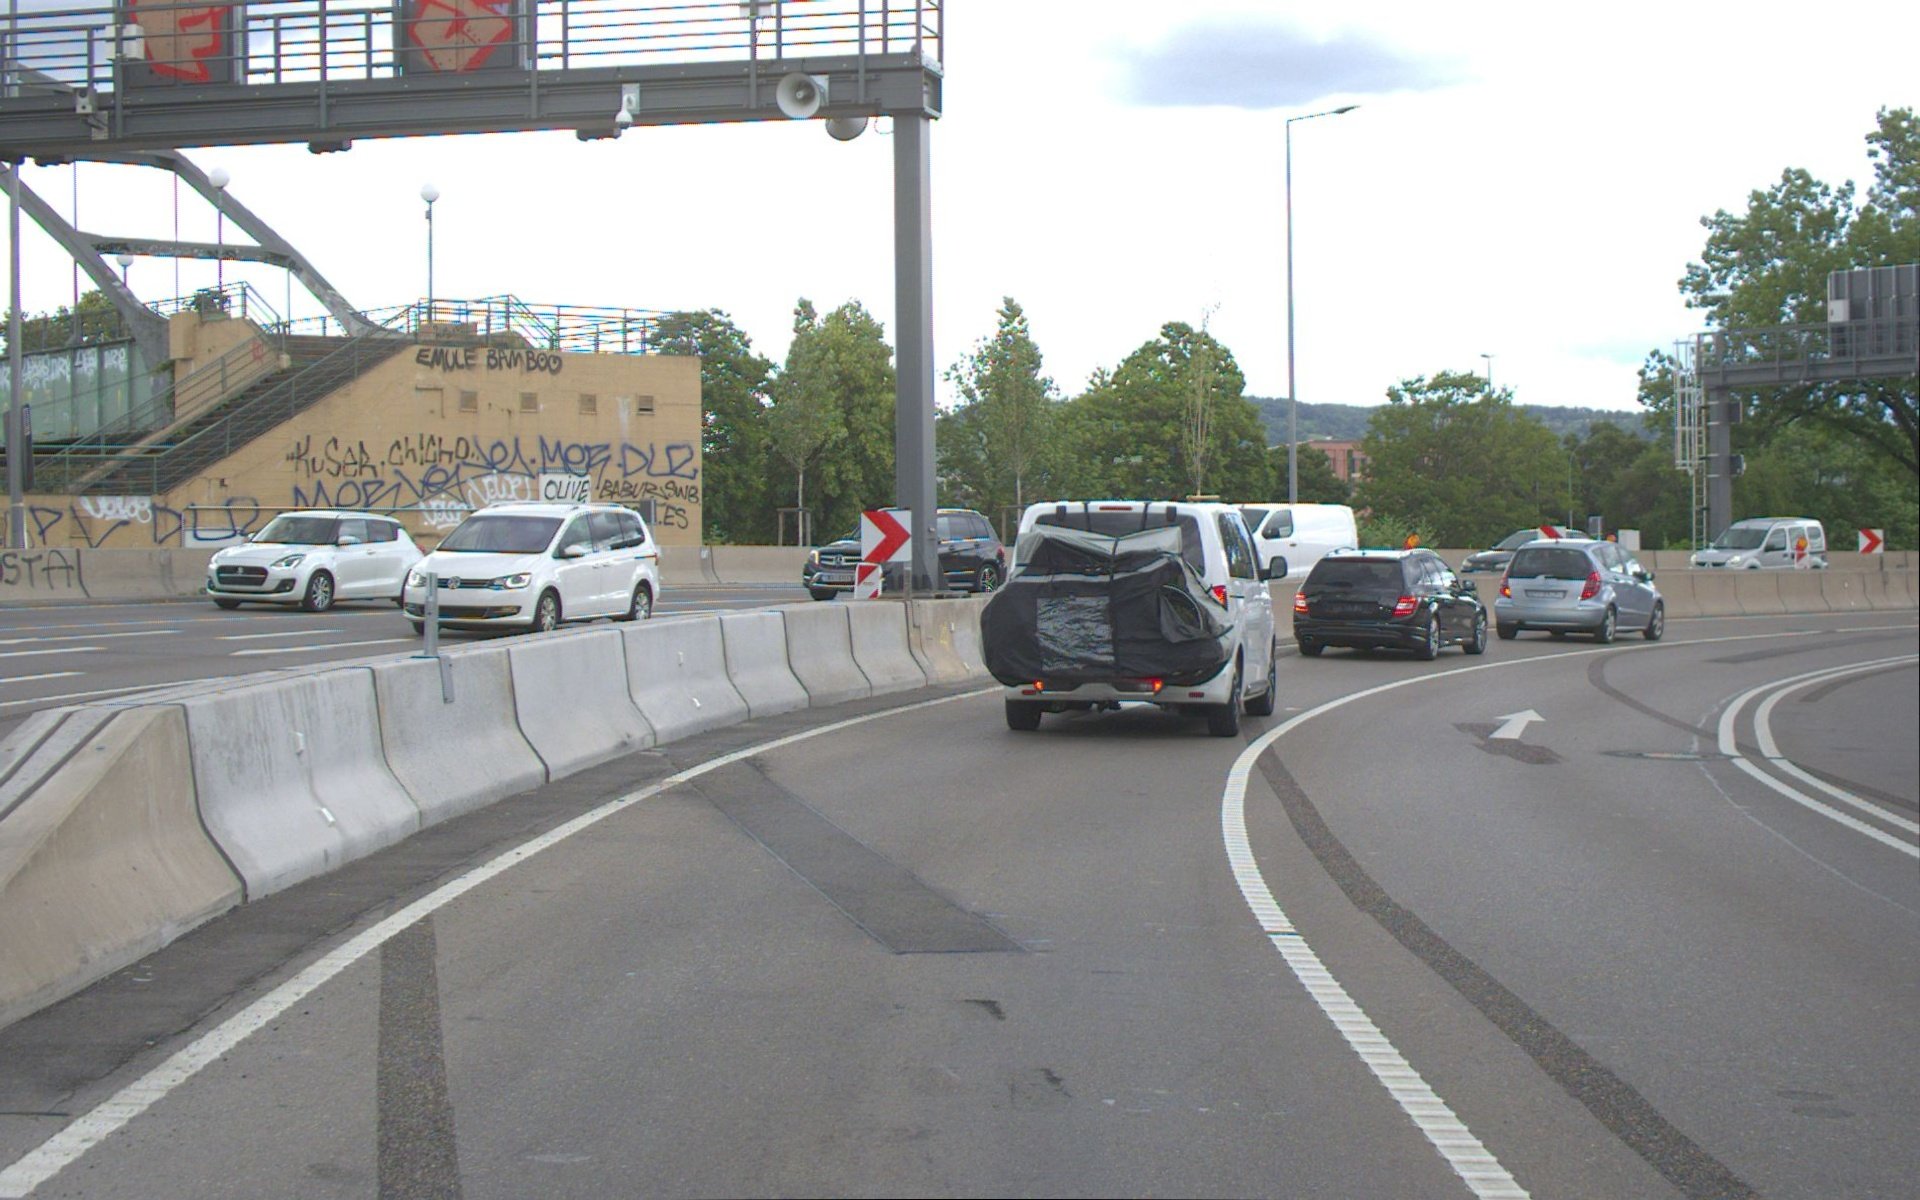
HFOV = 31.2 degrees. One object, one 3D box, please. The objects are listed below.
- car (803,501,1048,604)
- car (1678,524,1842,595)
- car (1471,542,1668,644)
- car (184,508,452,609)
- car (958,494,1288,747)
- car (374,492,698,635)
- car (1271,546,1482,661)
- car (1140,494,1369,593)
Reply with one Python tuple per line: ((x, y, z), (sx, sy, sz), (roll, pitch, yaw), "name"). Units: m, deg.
((-0.549, -0.837, 60.476), (1.997, 1.689, 4.919), (2, 2, 31), "car")
((19.733, -0.984, 84.745), (1.999, 1.680, 4.248), (2, 2, 44), "car")
((9.528, -0.146, 53.540), (1.923, 1.483, 4.059), (1, 2, 27), "car")
((-9.436, -0.620, 50.851), (1.762, 1.429, 4.139), (1, 1, 26), "car")
((1.475, 0.106, 28.443), (1.994, 1.852, 5.638), (1, 1, 10), "car")
((-5.413, -0.489, 44.703), (1.952, 1.744, 5.269), (1, 1, 21), "car")
((5.509, 0.020, 45.065), (1.817, 1.429, 4.061), (0, 1, 21), "car")
((6.101, -1.158, 70.715), (2.242, 1.945, 5.093), (2, 1, 38), "car")
